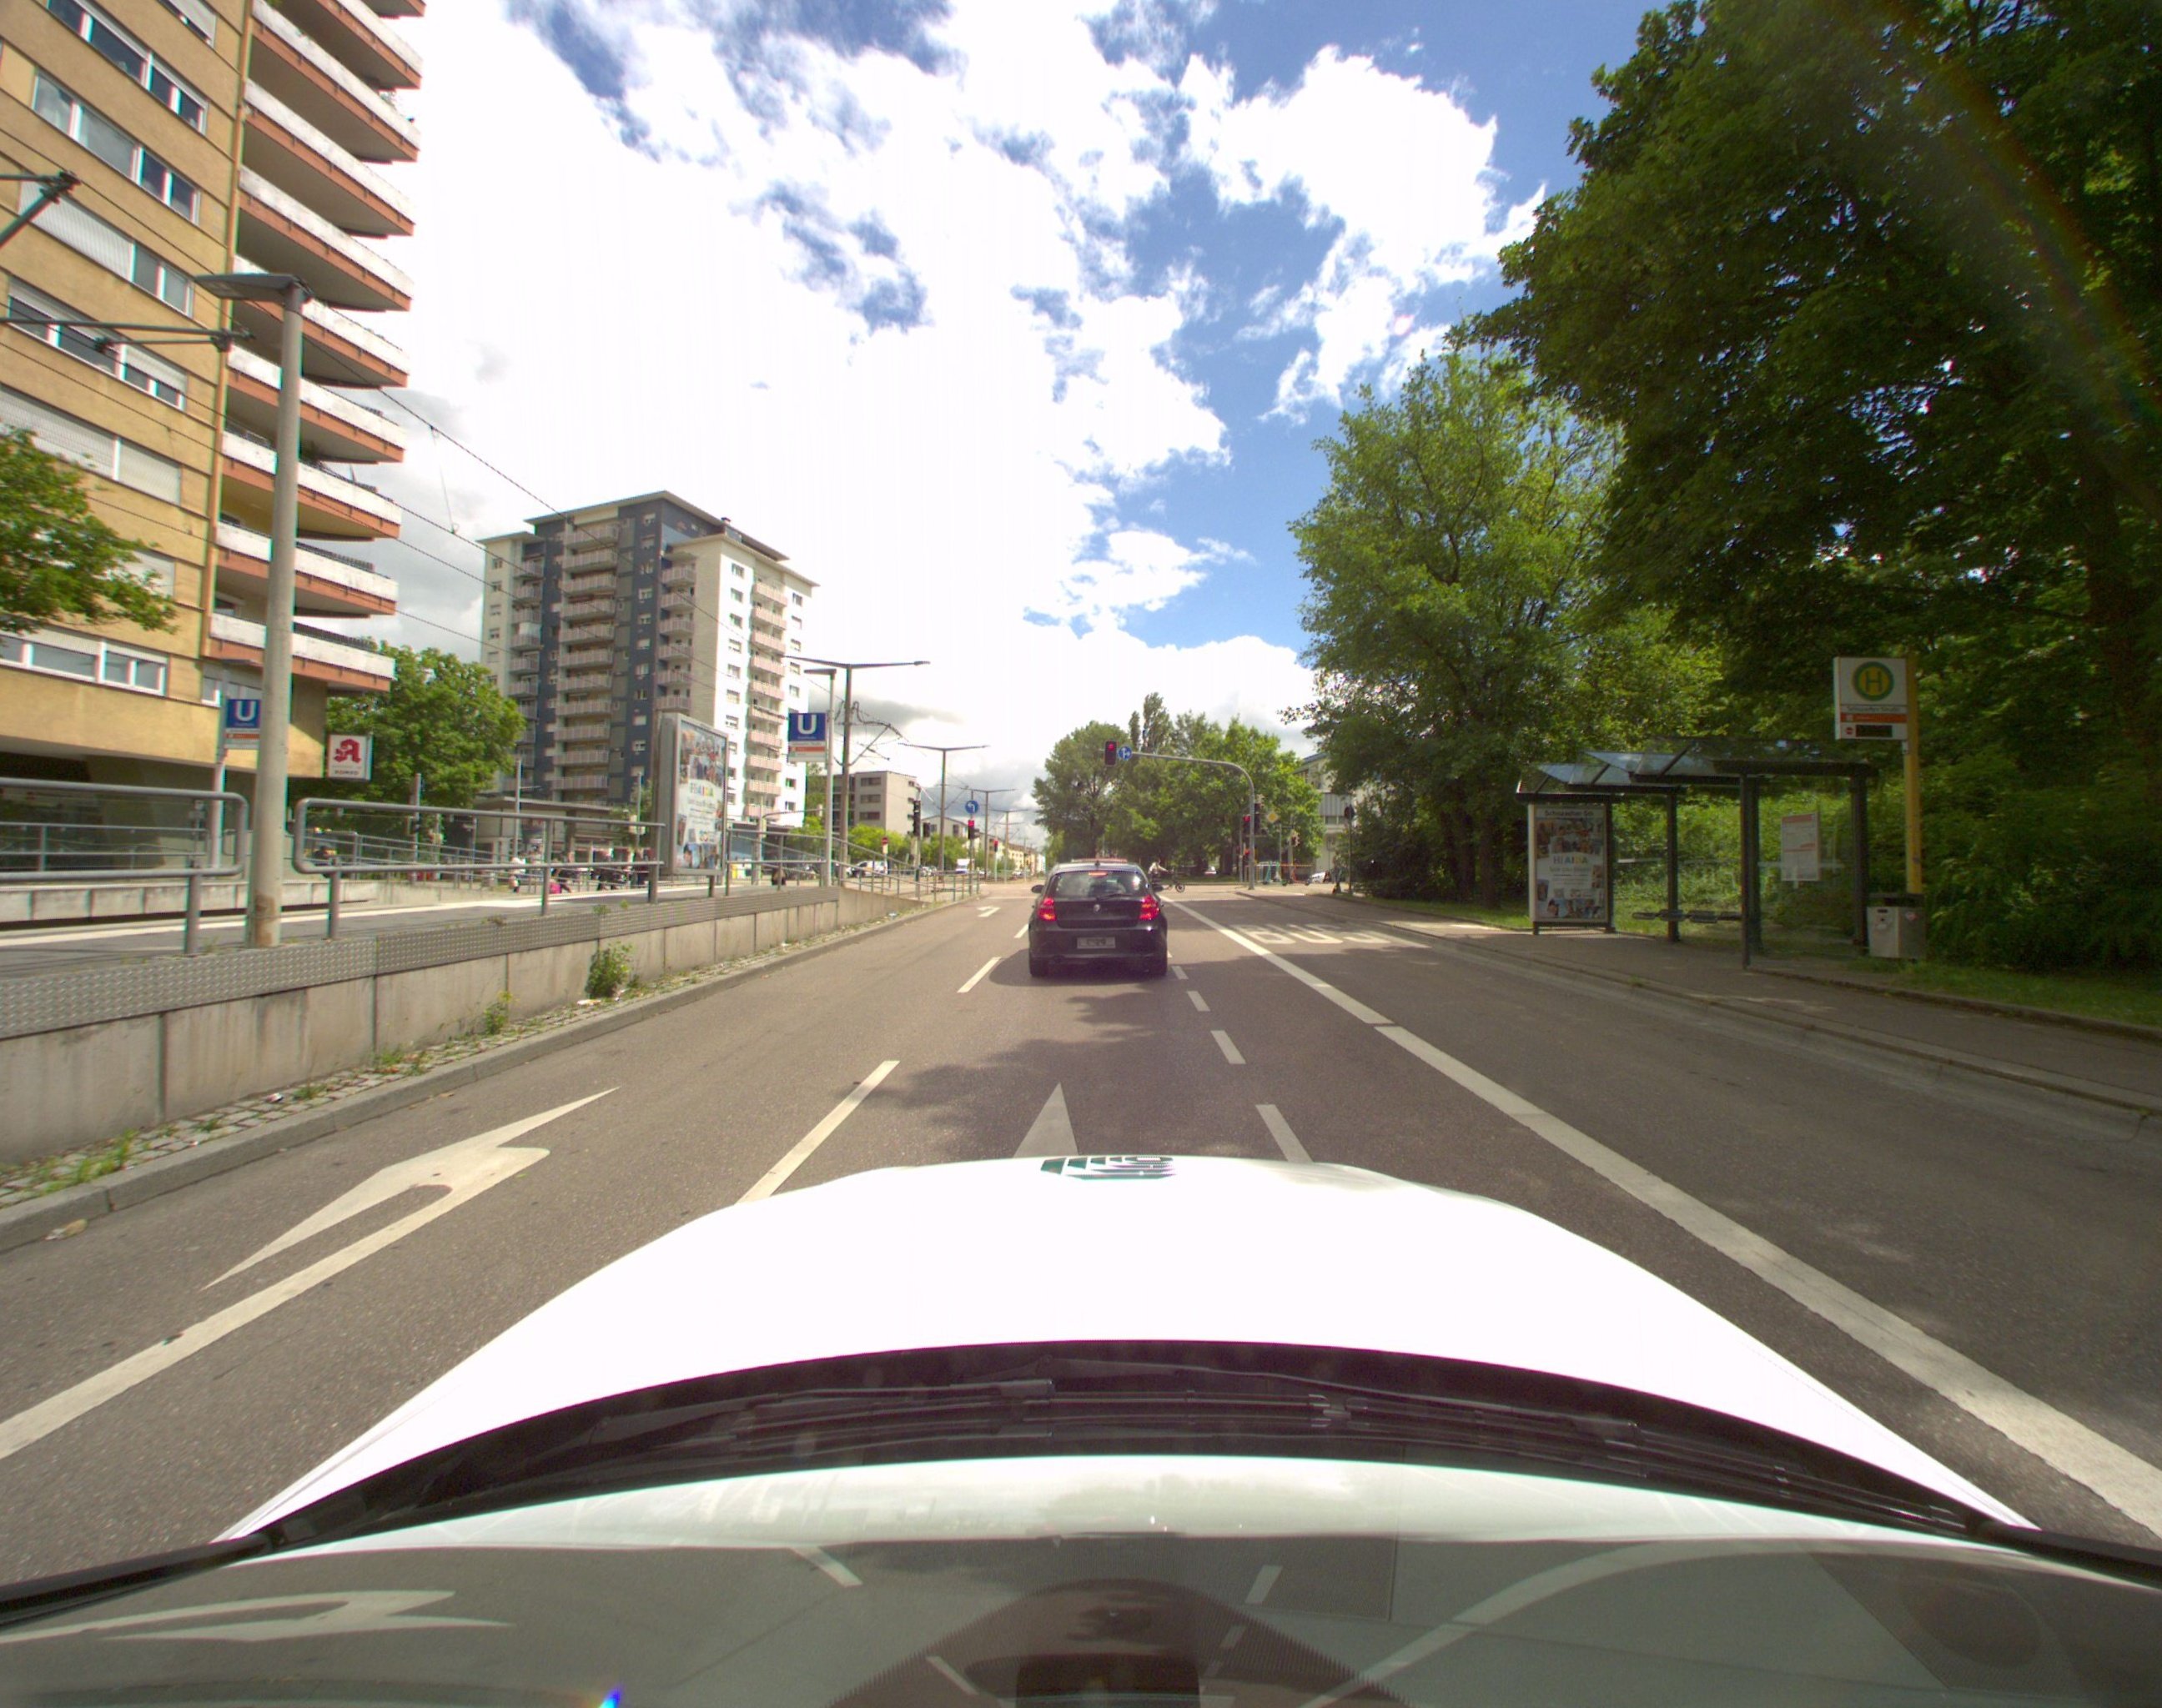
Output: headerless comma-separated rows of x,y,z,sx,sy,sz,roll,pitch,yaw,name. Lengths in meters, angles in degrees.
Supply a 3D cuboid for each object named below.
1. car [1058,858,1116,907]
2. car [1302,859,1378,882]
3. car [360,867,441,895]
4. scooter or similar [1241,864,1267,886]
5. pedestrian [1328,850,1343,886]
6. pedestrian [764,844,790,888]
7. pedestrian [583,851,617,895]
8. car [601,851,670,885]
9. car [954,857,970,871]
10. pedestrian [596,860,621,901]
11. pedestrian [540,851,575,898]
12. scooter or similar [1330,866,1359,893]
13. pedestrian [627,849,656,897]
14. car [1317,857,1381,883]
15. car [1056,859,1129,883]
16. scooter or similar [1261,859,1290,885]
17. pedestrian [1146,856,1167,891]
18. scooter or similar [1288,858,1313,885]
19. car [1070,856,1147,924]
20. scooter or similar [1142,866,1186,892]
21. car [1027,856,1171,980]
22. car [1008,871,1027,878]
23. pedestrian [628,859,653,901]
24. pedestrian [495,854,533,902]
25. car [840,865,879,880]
0.183,0.833,25.459,1.649,1.419,3.516,0,0,0,car
17.887,1.130,56.402,4.632,1.480,1.996,-1,0,-6,car
-44.104,1.755,52.820,3.674,1.680,1.742,-1,0,-3,car
7.812,0.954,36.716,1.121,0.957,0.299,-1,-1,-14,scooter or similar
13.291,0.728,42.527,0.608,1.790,0.571,3,-1,20,pedestrian
-11.410,0.457,30.582,0.699,1.632,0.638,-1,0,-1,pedestrian
-17.290,0.679,29.303,0.857,1.578,0.622,0,-1,-7,pedestrian
-29.655,0.917,54.285,3.725,2.013,1.800,-3,0,-22,car
-21.614,1.809,148.099,2.132,2.640,5.358,0,0,0,car
-15.600,0.867,26.875,0.660,1.343,0.558,-1,-1,44,pedestrian
-17.835,0.678,27.760,0.602,1.583,0.778,-1,-1,21,pedestrian
10.818,1.047,33.430,1.153,1.099,0.329,0,-1,-22,scooter or similar
-15.791,0.663,29.274,0.827,1.706,0.677,0,-1,-19,pedestrian
17.383,1.034,52.934,3.578,1.601,1.705,0,-1,-11,car
0.721,1.100,53.873,4.571,1.526,1.939,-1,0,-9,car
9.017,0.821,37.792,1.290,1.189,0.383,-1,-1,-14,scooter or similar
3.220,0.830,34.678,0.860,1.442,0.800,-1,-1,5,pedestrian
10.398,0.814,38.598,1.107,1.258,0.331,-1,-1,-11,scooter or similar
0.651,0.759,18.839,1.588,1.419,3.519,0,0,2,car
3.487,1.032,34.187,1.777,1.051,0.410,-1,0,-5,scooter or similar
0.312,0.749,11.147,1.647,1.419,3.520,-1,0,3,car
-13.734,4.447,176.385,1.947,1.596,4.025,-1,0,32,car
-14.482,0.855,26.784,0.691,1.343,0.852,0,0,-29,pedestrian
-20.383,0.854,29.279,0.852,1.696,0.691,0,-1,11,pedestrian
-22.788,1.896,83.934,3.600,1.462,1.612,-1,0,-7,car
